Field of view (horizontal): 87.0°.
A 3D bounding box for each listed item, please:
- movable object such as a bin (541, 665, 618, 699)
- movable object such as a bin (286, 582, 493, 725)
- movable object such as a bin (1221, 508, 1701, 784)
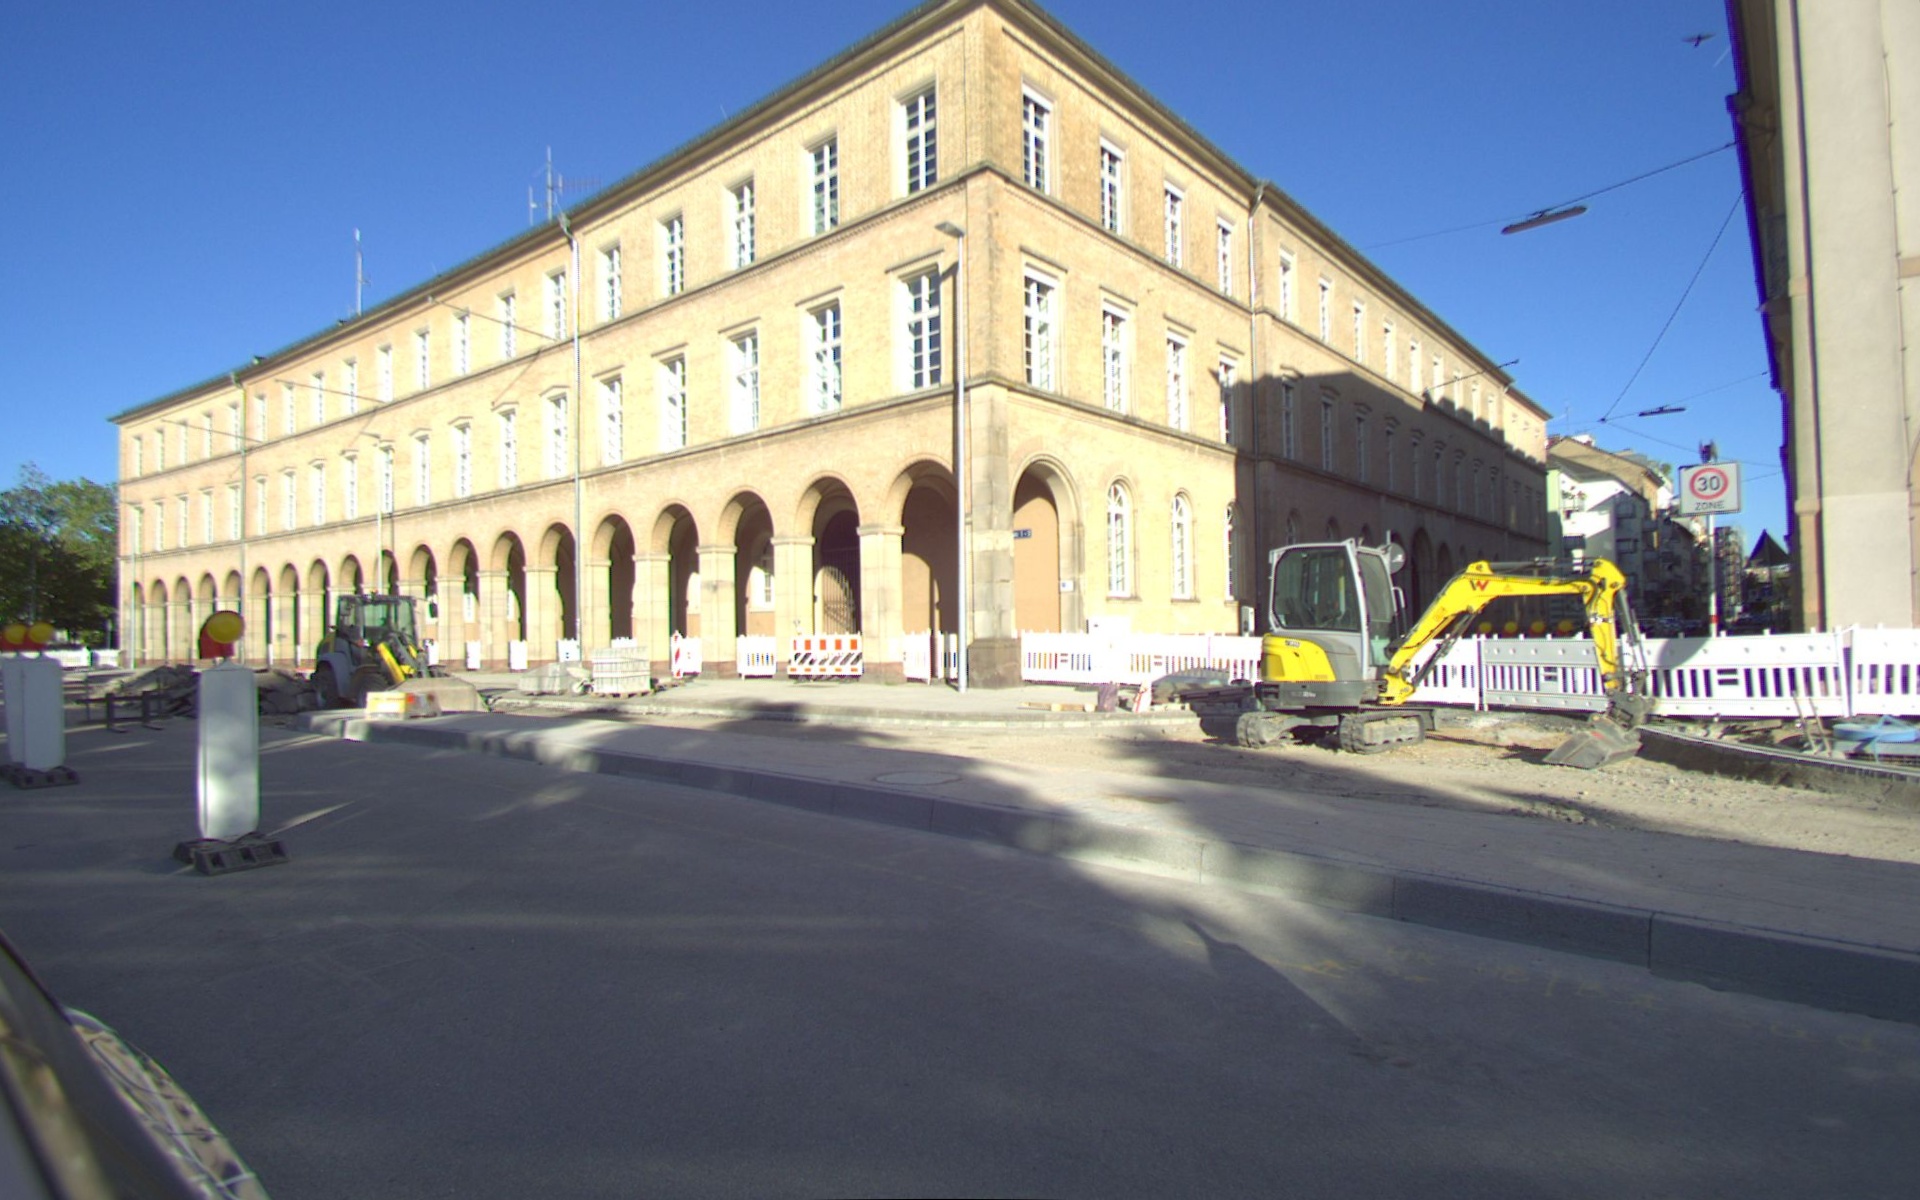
[{"bbox_3d":[-8.666,1.856,23.079,1.238,0.703,1.176,-3,-3,37],"label":"movable object such as a bin"},{"bbox_3d":[-11.095,1.029,19.580,4.527,2.472,1.774,-3,-3,36],"label":"movable object such as a bin"},{"bbox_3d":[5.310,0.480,11.106,4.308,2.414,2.076,-2,-3,44],"label":"movable object such as a bin"}]
